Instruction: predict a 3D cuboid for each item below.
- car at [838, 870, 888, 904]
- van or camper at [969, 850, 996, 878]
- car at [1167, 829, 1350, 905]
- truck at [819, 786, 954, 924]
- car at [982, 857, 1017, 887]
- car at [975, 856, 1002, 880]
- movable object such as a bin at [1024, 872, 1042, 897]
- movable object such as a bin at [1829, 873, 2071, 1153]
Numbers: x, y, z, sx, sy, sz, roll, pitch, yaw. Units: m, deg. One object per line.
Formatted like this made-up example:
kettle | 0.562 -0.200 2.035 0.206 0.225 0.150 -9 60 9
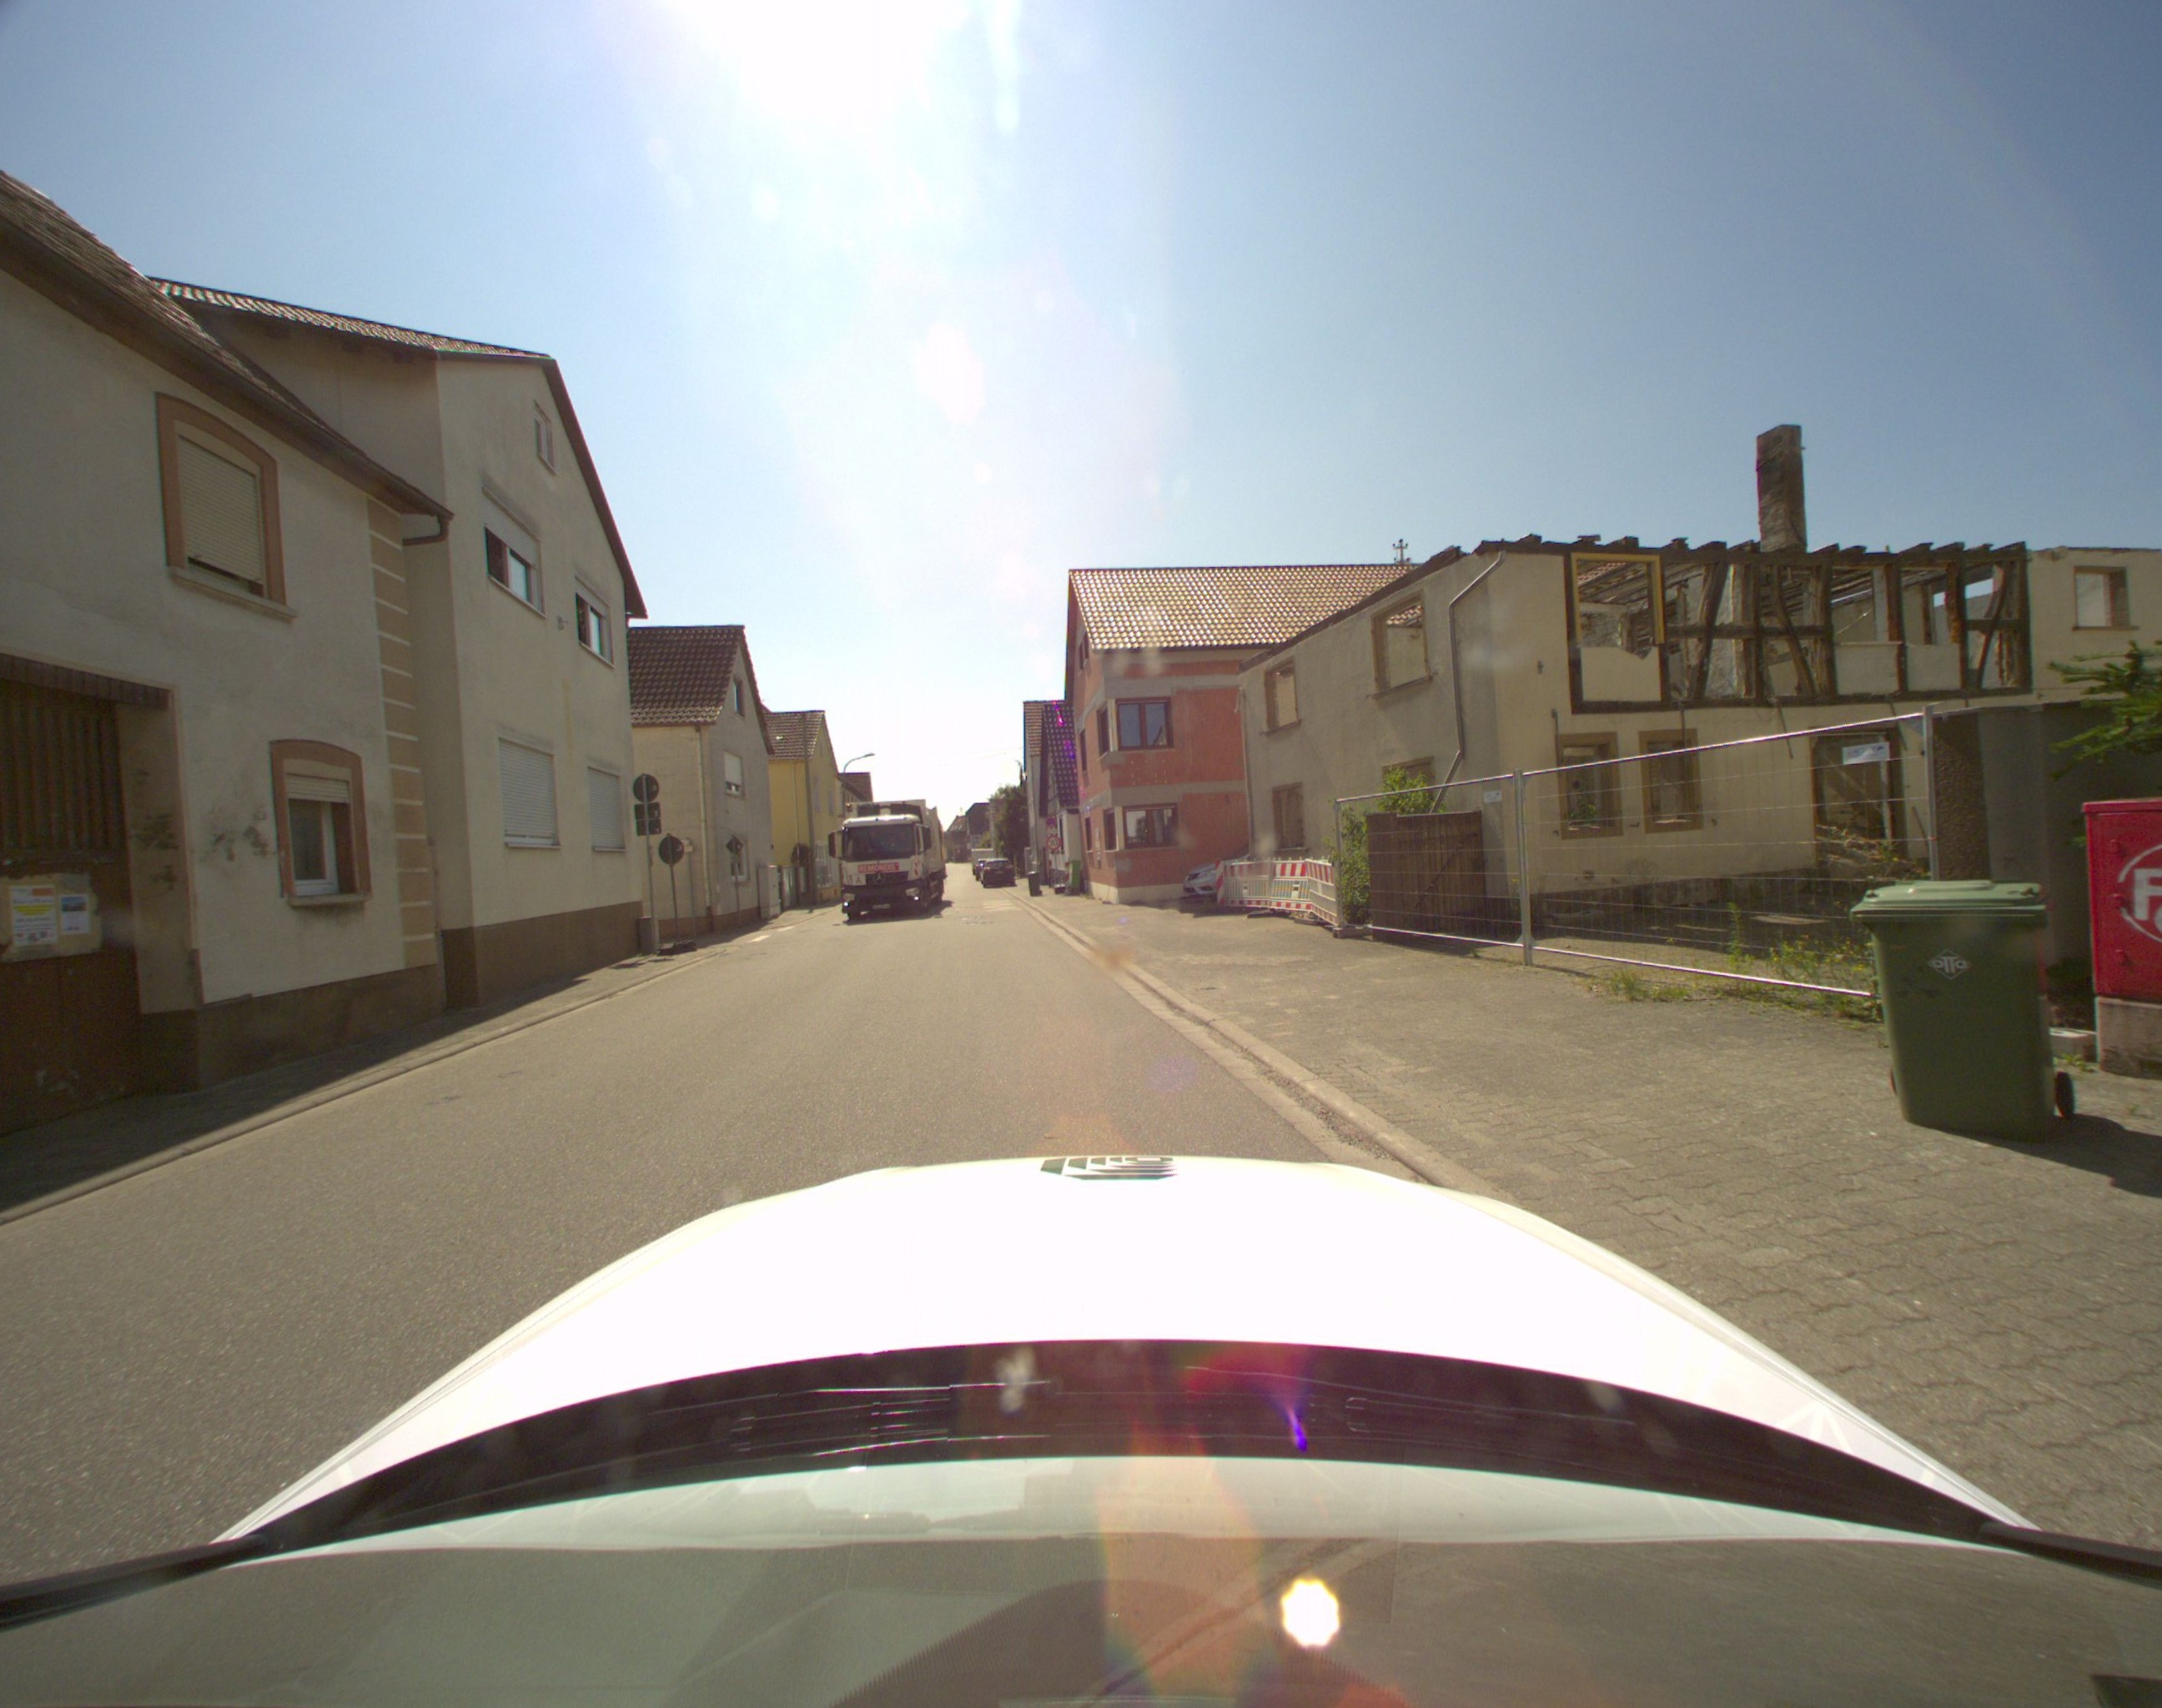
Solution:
car | -10.761 1.586 40.459 1.834 1.464 4.258 -4 0 -8
van or camper | -10.522 1.049 87.015 2.521 2.696 4.541 -4 0 -9
car | 4.503 0.308 20.868 4.094 1.507 1.861 -5 0 -14
truck | -6.404 0.036 28.711 2.691 3.750 10.851 -5 0 -5
car | -4.748 1.016 46.997 1.796 1.560 4.619 -4 0 -7
car | -7.116 1.042 63.126 1.791 1.631 4.353 -4 0 -5
movable object such as a bin | -1.885 1.208 32.215 0.535 0.913 0.553 -4 0 9
movable object such as a bin | 4.000 0.655 3.763 0.766 1.072 0.664 -4 0 -41
